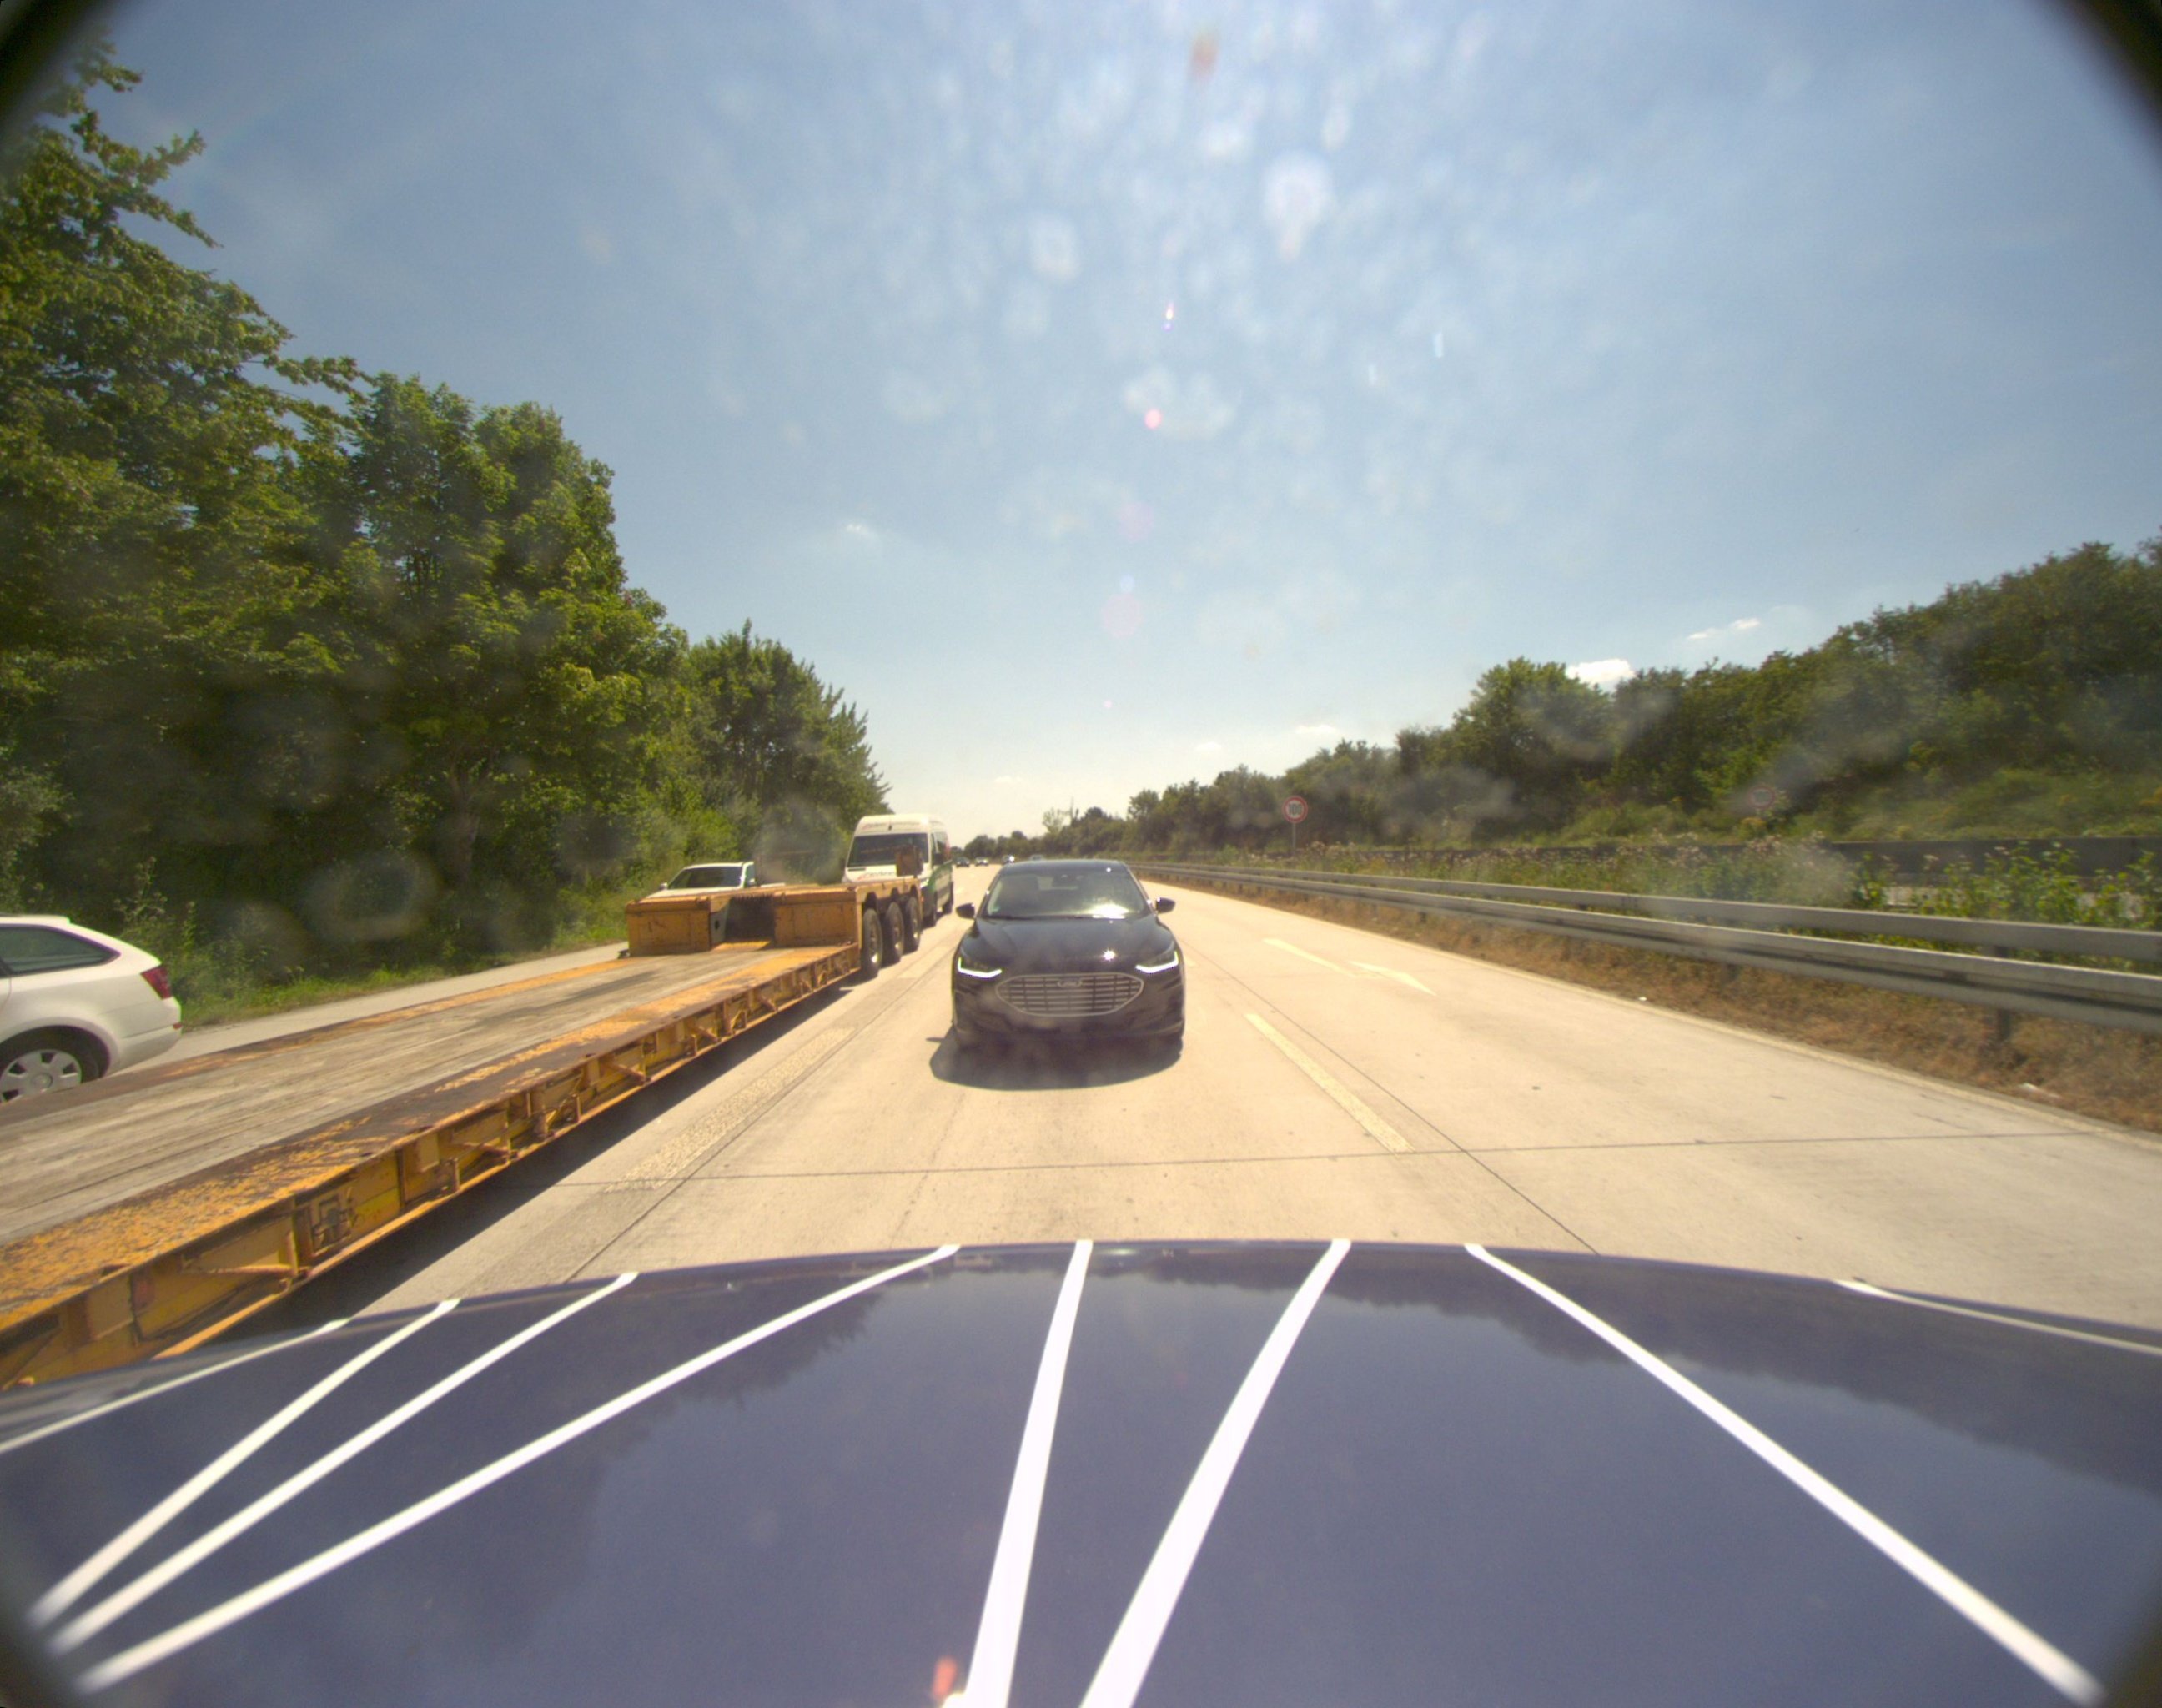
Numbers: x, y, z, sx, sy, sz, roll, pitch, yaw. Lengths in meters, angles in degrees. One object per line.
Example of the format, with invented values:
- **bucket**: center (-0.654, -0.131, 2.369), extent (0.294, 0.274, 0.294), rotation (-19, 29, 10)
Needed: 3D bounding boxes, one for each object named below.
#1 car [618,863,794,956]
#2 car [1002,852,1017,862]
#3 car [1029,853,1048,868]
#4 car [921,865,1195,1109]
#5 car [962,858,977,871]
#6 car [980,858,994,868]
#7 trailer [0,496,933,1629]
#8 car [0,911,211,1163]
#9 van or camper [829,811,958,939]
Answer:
- **car**: center (-7.771, 1.055, 16.276), extent (1.772, 1.552, 4.366), rotation (-2, 1, -4)
- **car**: center (-10.873, 0.429, 115.142), extent (1.708, 1.456, 3.995), rotation (-2, 1, -12)
- **car**: center (-4.650, 0.702, 83.122), extent (1.628, 1.476, 3.996), rotation (-2, 1, -8)
- **car**: center (-0.123, 0.903, 7.102), extent (1.731, 1.430, 4.303), rotation (-2, 0, 1)
- **car**: center (-15.783, 1.467, 107.614), extent (1.774, 1.552, 4.363), rotation (-2, 1, -12)
- **car**: center (-14.706, 1.374, 119.081), extent (1.892, 1.456, 3.995), rotation (-2, 1, -11)
- **trailer**: center (-4.024, 0.488, 4.851), extent (3.035, 2.578, 16.354), rotation (-2, 0, -1)
- **car**: center (-7.564, 1.230, 3.516), extent (1.772, 1.454, 4.597), rotation (-2, 1, -1)
- **van or camper**: center (-4.317, 0.389, 18.558), extent (2.069, 2.559, 5.904), rotation (-2, 1, -5)
